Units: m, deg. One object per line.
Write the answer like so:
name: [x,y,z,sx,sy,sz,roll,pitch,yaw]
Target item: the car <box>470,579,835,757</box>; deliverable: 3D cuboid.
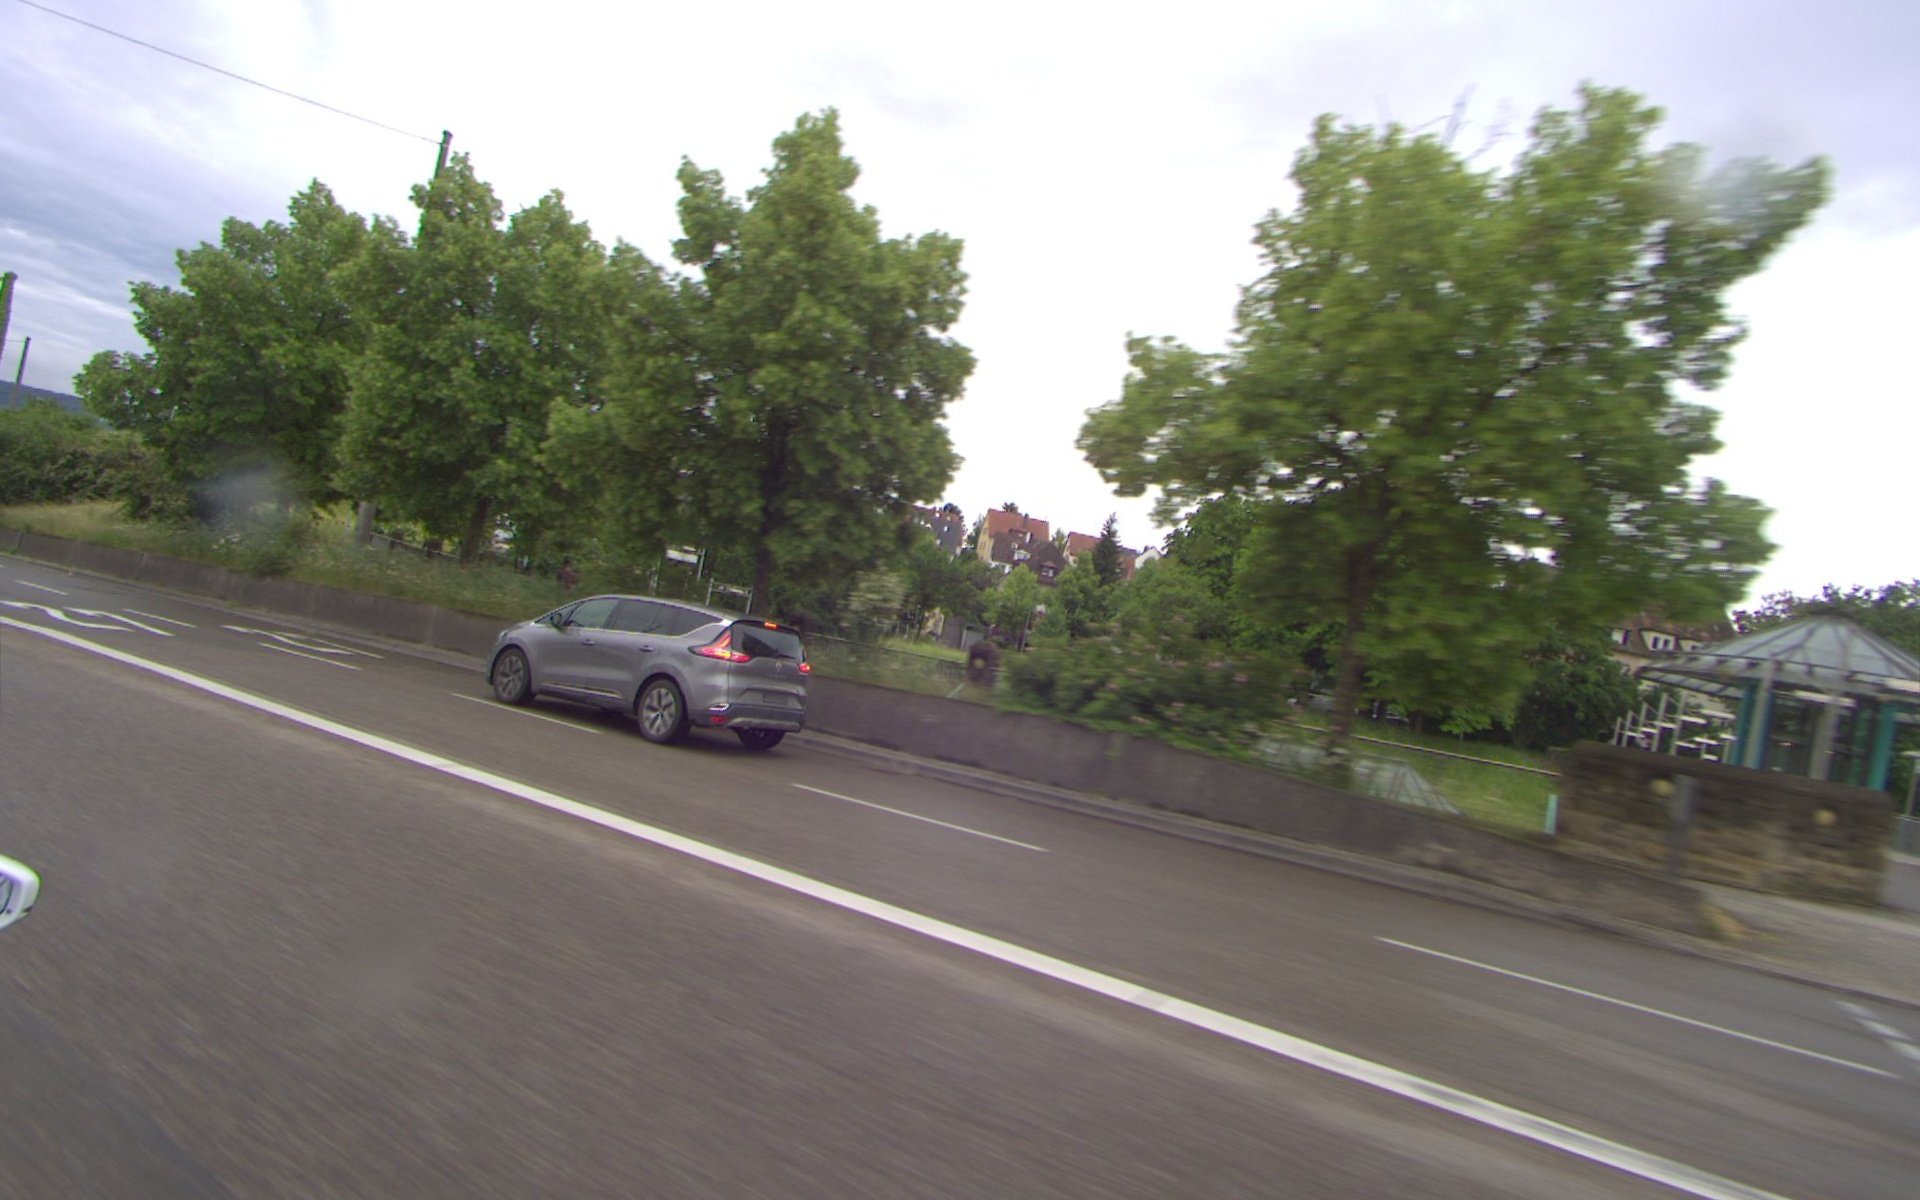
car: [-3.994,0.817,12.801,4.550,1.665,1.731,4,-6,32]
